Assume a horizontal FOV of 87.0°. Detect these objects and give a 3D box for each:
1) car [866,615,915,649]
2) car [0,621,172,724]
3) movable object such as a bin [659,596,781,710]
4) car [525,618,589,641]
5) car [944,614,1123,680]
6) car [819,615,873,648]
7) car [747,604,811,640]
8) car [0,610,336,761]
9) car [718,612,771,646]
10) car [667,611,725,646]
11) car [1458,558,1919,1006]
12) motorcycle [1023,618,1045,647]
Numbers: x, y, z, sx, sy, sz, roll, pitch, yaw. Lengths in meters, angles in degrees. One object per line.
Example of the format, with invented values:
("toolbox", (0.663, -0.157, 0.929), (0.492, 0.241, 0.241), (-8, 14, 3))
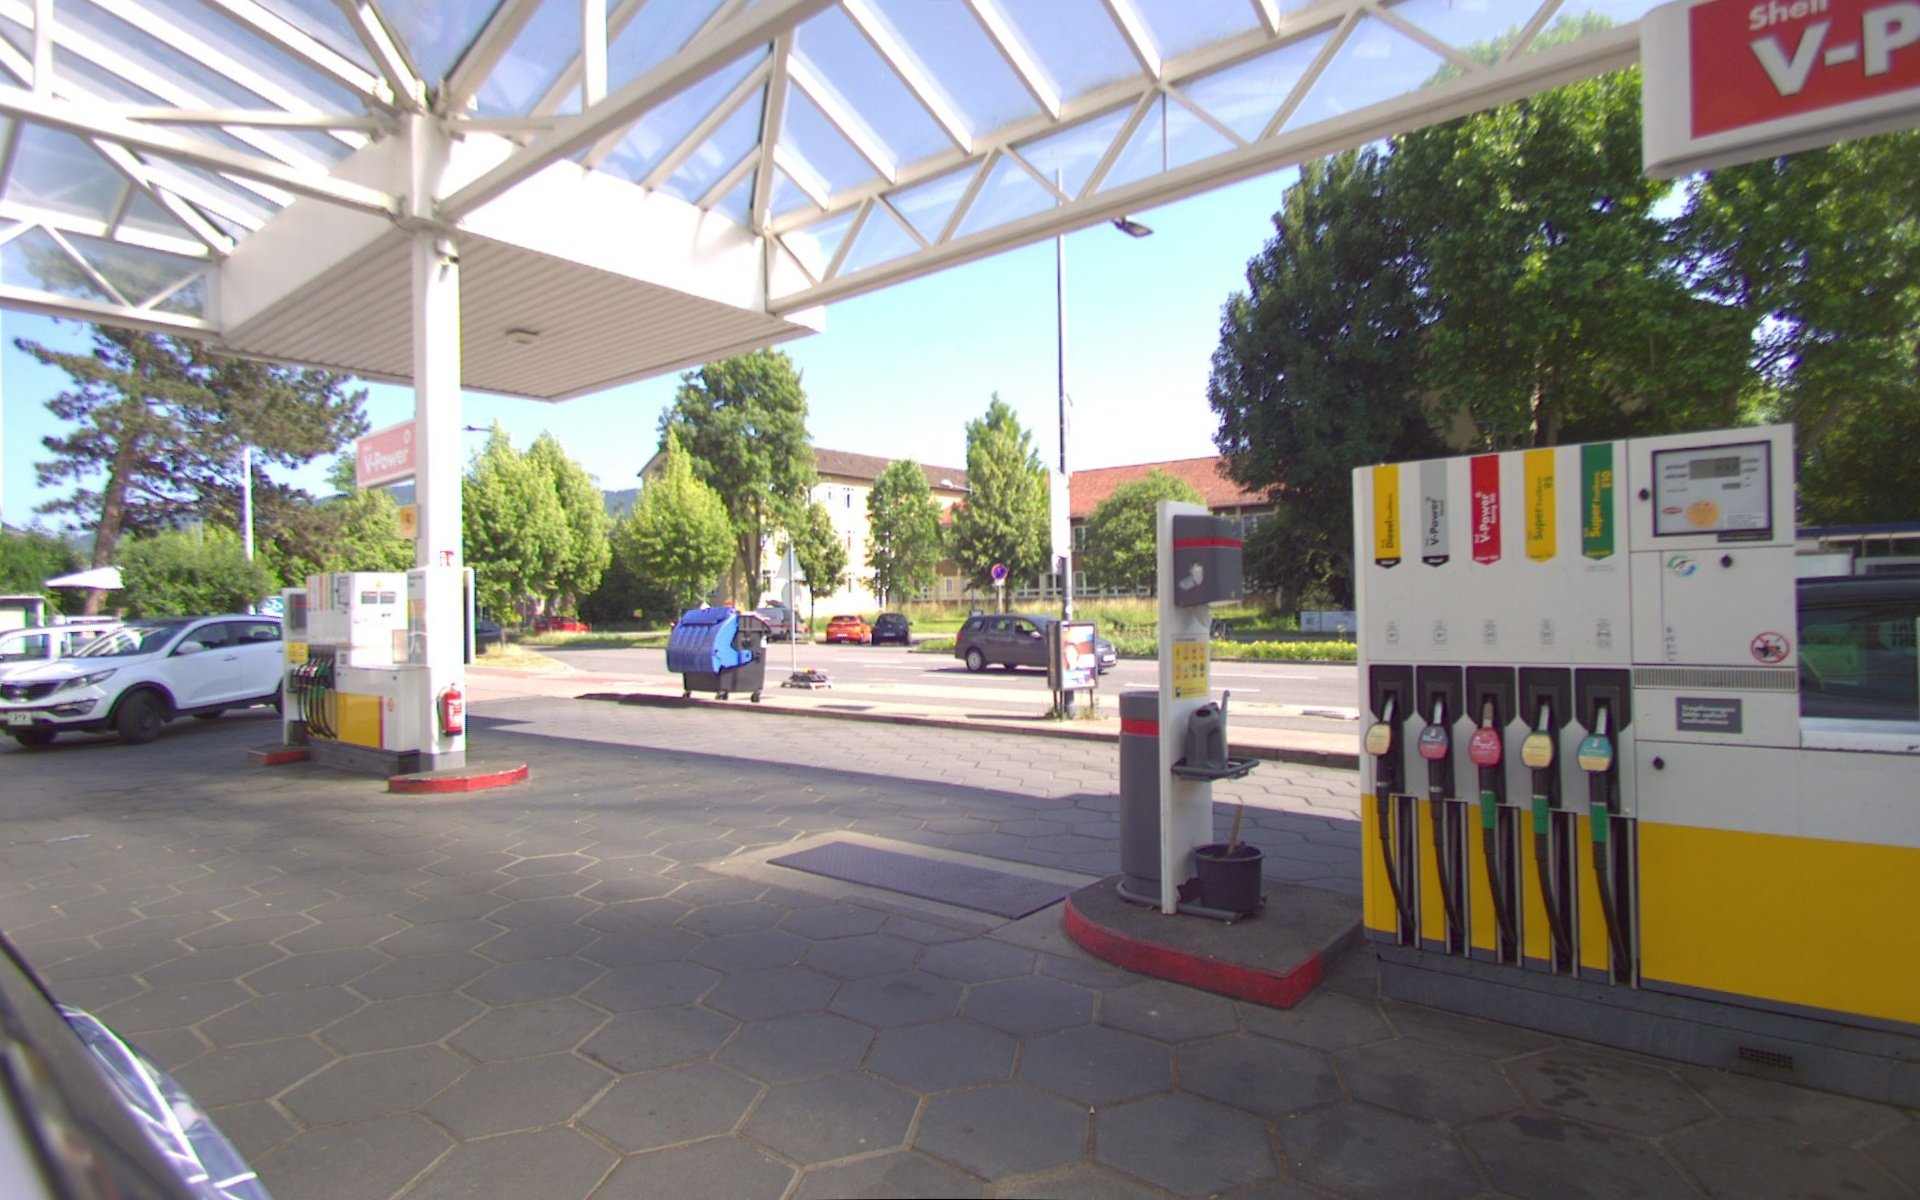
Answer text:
("car", (-3.163, 1.470, 46.477), (1.719, 1.471, 4.221), (0, -2, 4))
("car", (-16.596, 1.284, 18.146), (1.691, 1.629, 3.613), (-2, 1, 41))
("movable object such as a bin", (-3.779, 0.819, 15.972), (1.336, 1.701, 1.324), (-1, -3, 41))
("car", (-25.995, 1.924, 65.425), (1.868, 1.401, 3.700), (0, -2, 21))
("car", (1.782, 1.136, 25.445), (4.373, 1.479, 1.549), (-1, 0, 39))
("car", (-5.348, 1.476, 47.903), (1.857, 1.471, 4.221), (0, -2, 4))
("car", (-9.180, 1.118, 51.683), (1.861, 1.735, 4.212), (0, -2, 10))
("car", (-11.381, 1.071, 14.423), (1.939, 1.719, 4.297), (-2, 0, 8))
("car", (-11.270, 1.529, 53.278), (1.855, 1.735, 4.224), (1, -2, 0))
("car", (-13.709, 1.490, 52.797), (1.855, 1.735, 4.224), (1, -2, 0))
("car", (4.265, 0.637, 3.835), (3.996, 1.543, 1.726), (-1, -2, 39))
("motorcycle", (2.996, 1.316, 40.964), (0.552, 1.122, 1.750), (-1, -1, 16))
